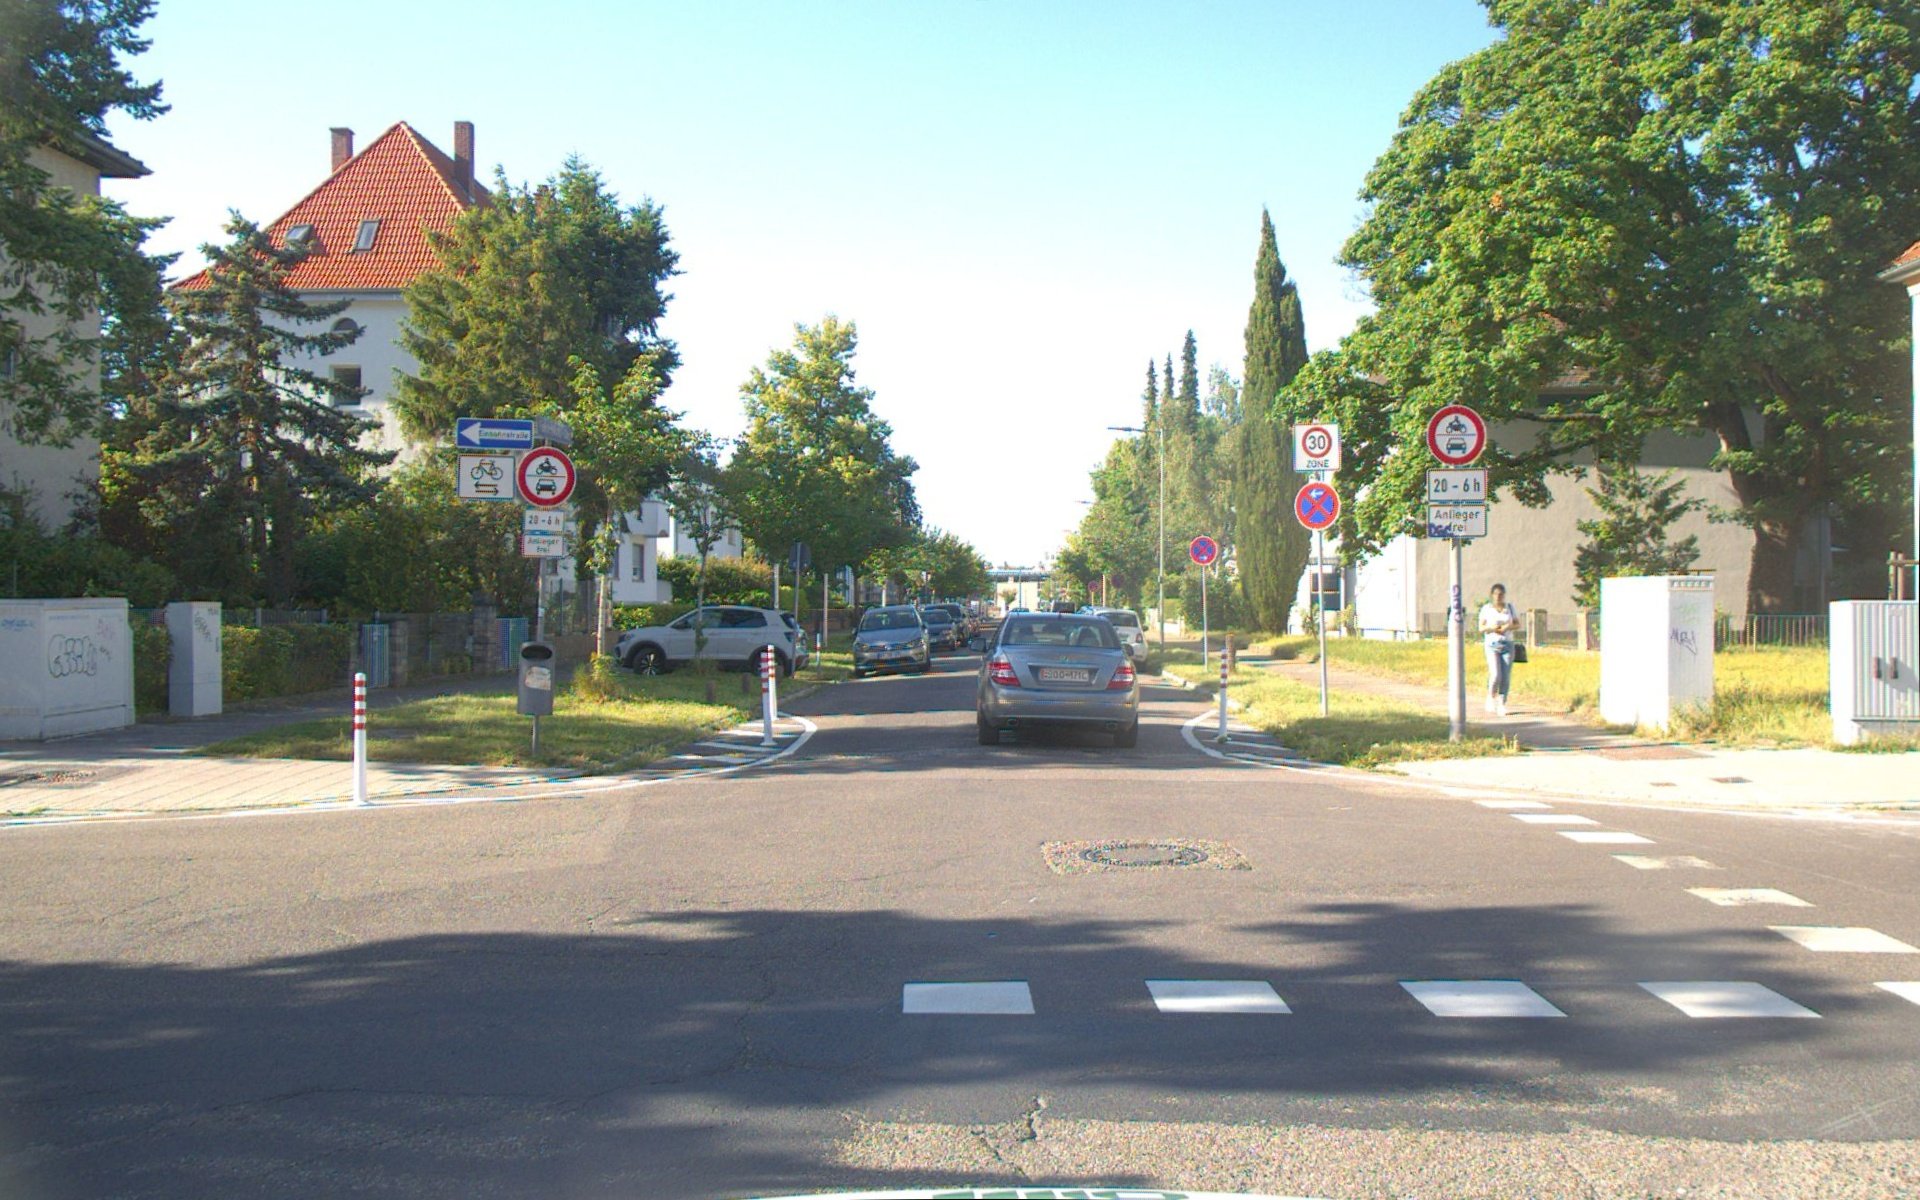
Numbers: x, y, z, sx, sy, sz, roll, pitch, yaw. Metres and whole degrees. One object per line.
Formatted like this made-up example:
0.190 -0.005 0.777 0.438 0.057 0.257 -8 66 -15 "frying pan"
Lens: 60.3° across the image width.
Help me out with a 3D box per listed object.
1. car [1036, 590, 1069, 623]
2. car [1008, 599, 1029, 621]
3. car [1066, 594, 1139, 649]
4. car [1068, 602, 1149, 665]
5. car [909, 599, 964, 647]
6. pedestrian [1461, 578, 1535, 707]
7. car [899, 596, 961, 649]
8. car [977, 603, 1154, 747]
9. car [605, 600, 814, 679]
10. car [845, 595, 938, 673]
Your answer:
5.420 0.382 97.535 1.816 1.873 4.001 -1 0 1 "car"
4.580 0.779 130.119 1.564 1.638 3.644 -1 0 0 "car"
4.481 0.653 52.477 1.953 1.638 4.000 -1 0 0 "car"
3.713 0.808 41.812 1.698 1.505 3.725 -1 0 0 "car"
-0.860 0.836 63.252 1.953 1.637 4.000 -4 0 0 "car"
6.988 0.547 21.513 0.750 1.639 0.835 -1 0 7 "pedestrian"
-1.003 0.755 57.459 1.953 1.637 4.000 -4 0 0 "car"
1.187 0.767 18.908 1.798 1.466 4.002 0 0 3 "car"
-5.180 0.813 34.651 4.107 1.591 1.842 0 0 -1 "car"
-1.587 0.765 39.654 1.953 1.637 4.000 -4 0 0 "car"
